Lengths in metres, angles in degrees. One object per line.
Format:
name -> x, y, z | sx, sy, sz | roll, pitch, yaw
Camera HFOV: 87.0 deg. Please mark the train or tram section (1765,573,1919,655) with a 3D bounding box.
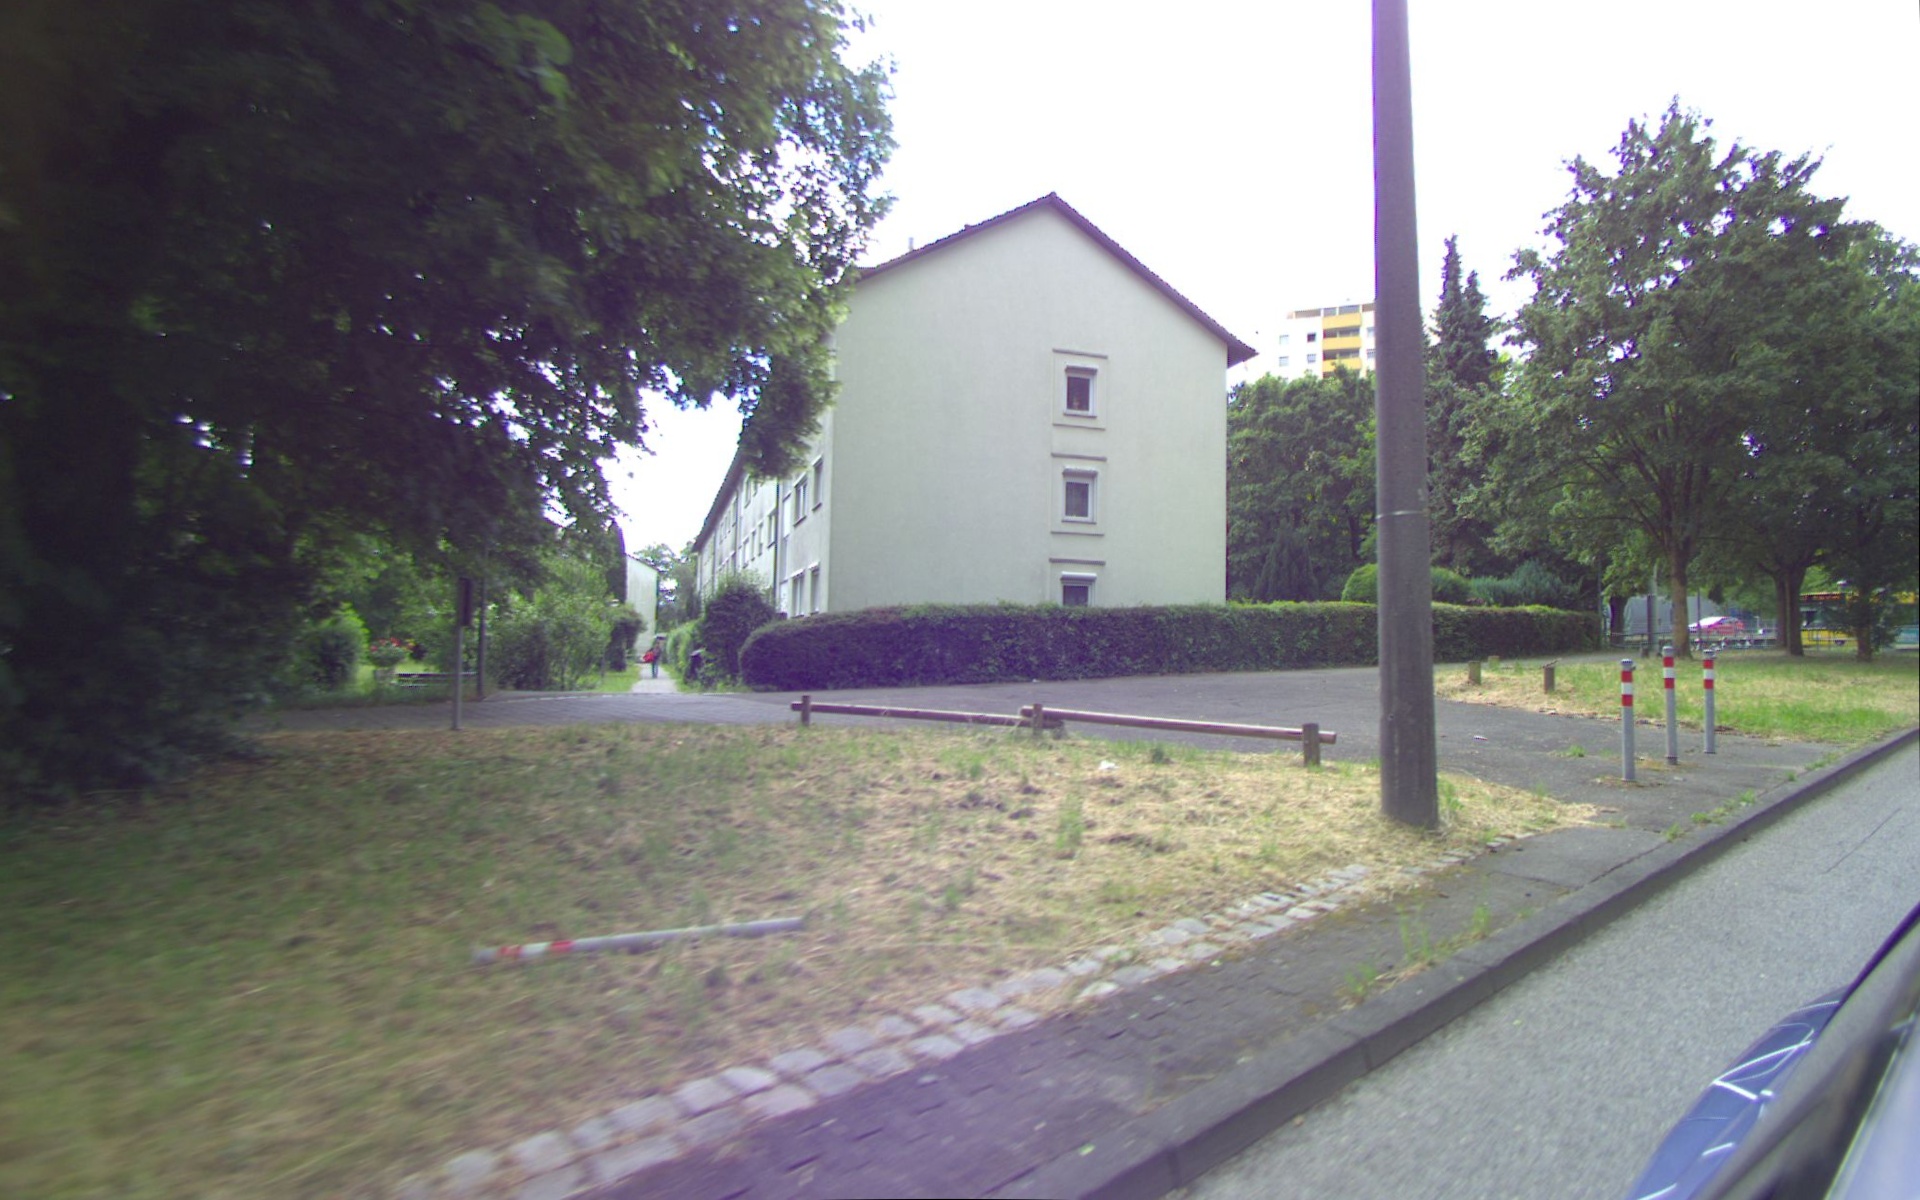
train or tram section -> 47.949, 0.758, 48.810 | 19.104, 3.637, 2.826 | 0, -4, -13
